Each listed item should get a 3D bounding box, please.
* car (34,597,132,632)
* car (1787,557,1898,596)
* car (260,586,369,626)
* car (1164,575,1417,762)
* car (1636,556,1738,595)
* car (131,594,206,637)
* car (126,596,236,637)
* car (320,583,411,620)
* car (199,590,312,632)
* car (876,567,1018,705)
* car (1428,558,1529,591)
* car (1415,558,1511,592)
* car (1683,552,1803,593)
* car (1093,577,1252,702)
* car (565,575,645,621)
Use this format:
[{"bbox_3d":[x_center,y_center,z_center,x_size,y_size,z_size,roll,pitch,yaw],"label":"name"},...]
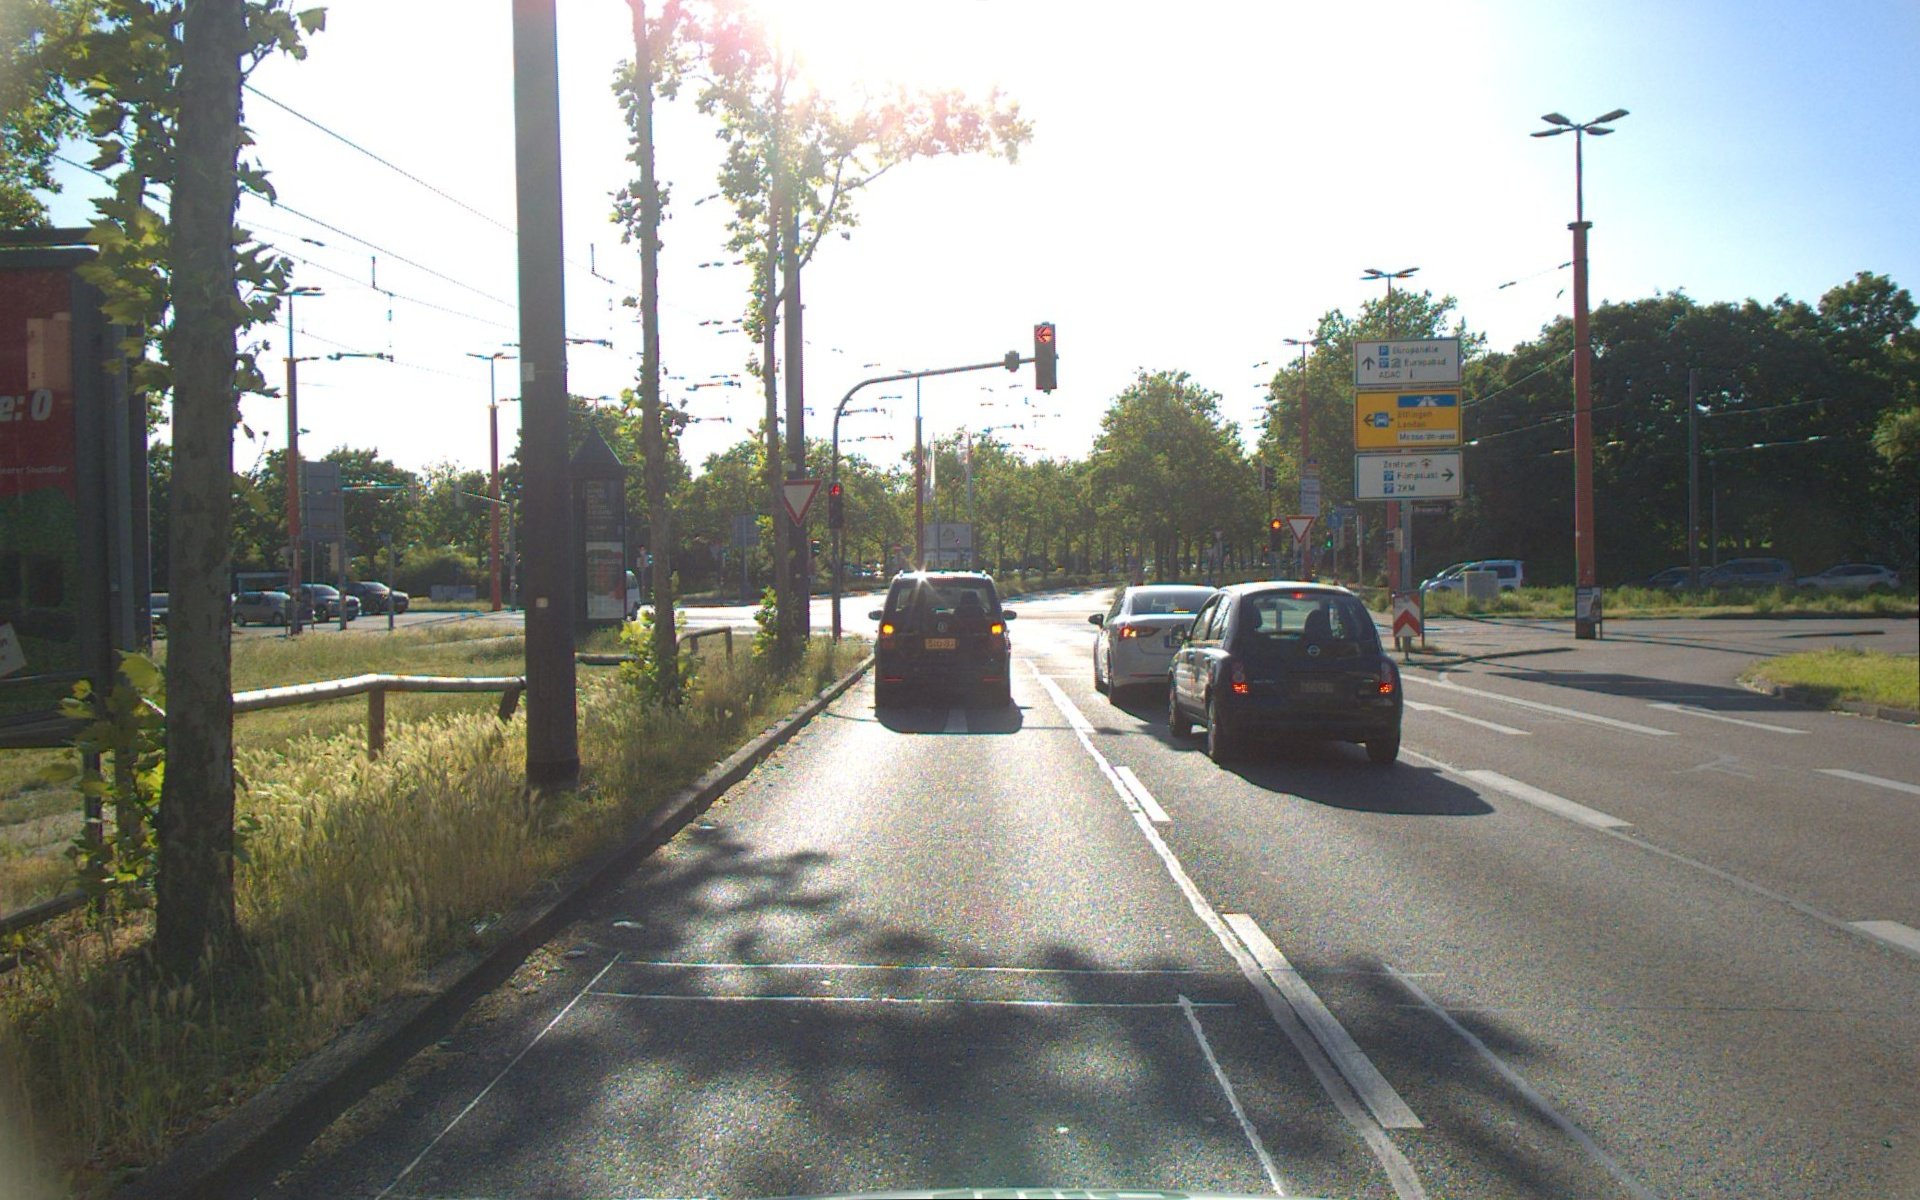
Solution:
[{"bbox_3d":[-41.515,0.680,78.296,3.950,1.461,1.817,-2,3,19],"label":"car"},{"bbox_3d":[35.853,-0.953,67.267,3.909,1.521,1.859,0,0,27],"label":"car"},{"bbox_3d":[-29.649,0.289,75.980,4.391,1.638,1.901,-1,3,19],"label":"car"},{"bbox_3d":[2.953,0.543,15.437,1.605,1.520,3.503,0,1,-1],"label":"car"},{"bbox_3d":[30.757,-1.032,69.986,3.909,1.588,1.898,0,0,26],"label":"car"},{"bbox_3d":[-30.305,0.562,63.275,1.878,1.570,4.444,0,0,-35],"label":"car"},{"bbox_3d":[-35.457,0.759,75.285,4.391,1.638,1.901,-1,2,19],"label":"car"},{"bbox_3d":[-29.759,0.092,82.795,3.903,1.649,1.901,-1,3,19],"label":"car"},{"bbox_3d":[-30.974,0.470,72.744,4.391,1.638,1.901,-1,3,19],"label":"car"},{"bbox_3d":[-0.181,0.427,21.431,1.675,1.631,3.349,1,0,-1],"label":"car"},{"bbox_3d":[22.225,-1.075,70.920,3.909,1.361,1.727,0,0,26],"label":"car"},{"bbox_3d":[22.600,-1.113,74.282,3.908,1.502,1.788,0,0,26],"label":"car"},{"bbox_3d":[31.310,-1.093,66.245,4.265,1.586,1.871,0,0,25],"label":"car"},{"bbox_3d":[2.725,0.468,21.989,1.644,1.500,4.131,0,0,1],"label":"car"},{"bbox_3d":[-14.428,-0.087,67.486,1.784,1.811,4.571,0,0,7],"label":"car"}]
